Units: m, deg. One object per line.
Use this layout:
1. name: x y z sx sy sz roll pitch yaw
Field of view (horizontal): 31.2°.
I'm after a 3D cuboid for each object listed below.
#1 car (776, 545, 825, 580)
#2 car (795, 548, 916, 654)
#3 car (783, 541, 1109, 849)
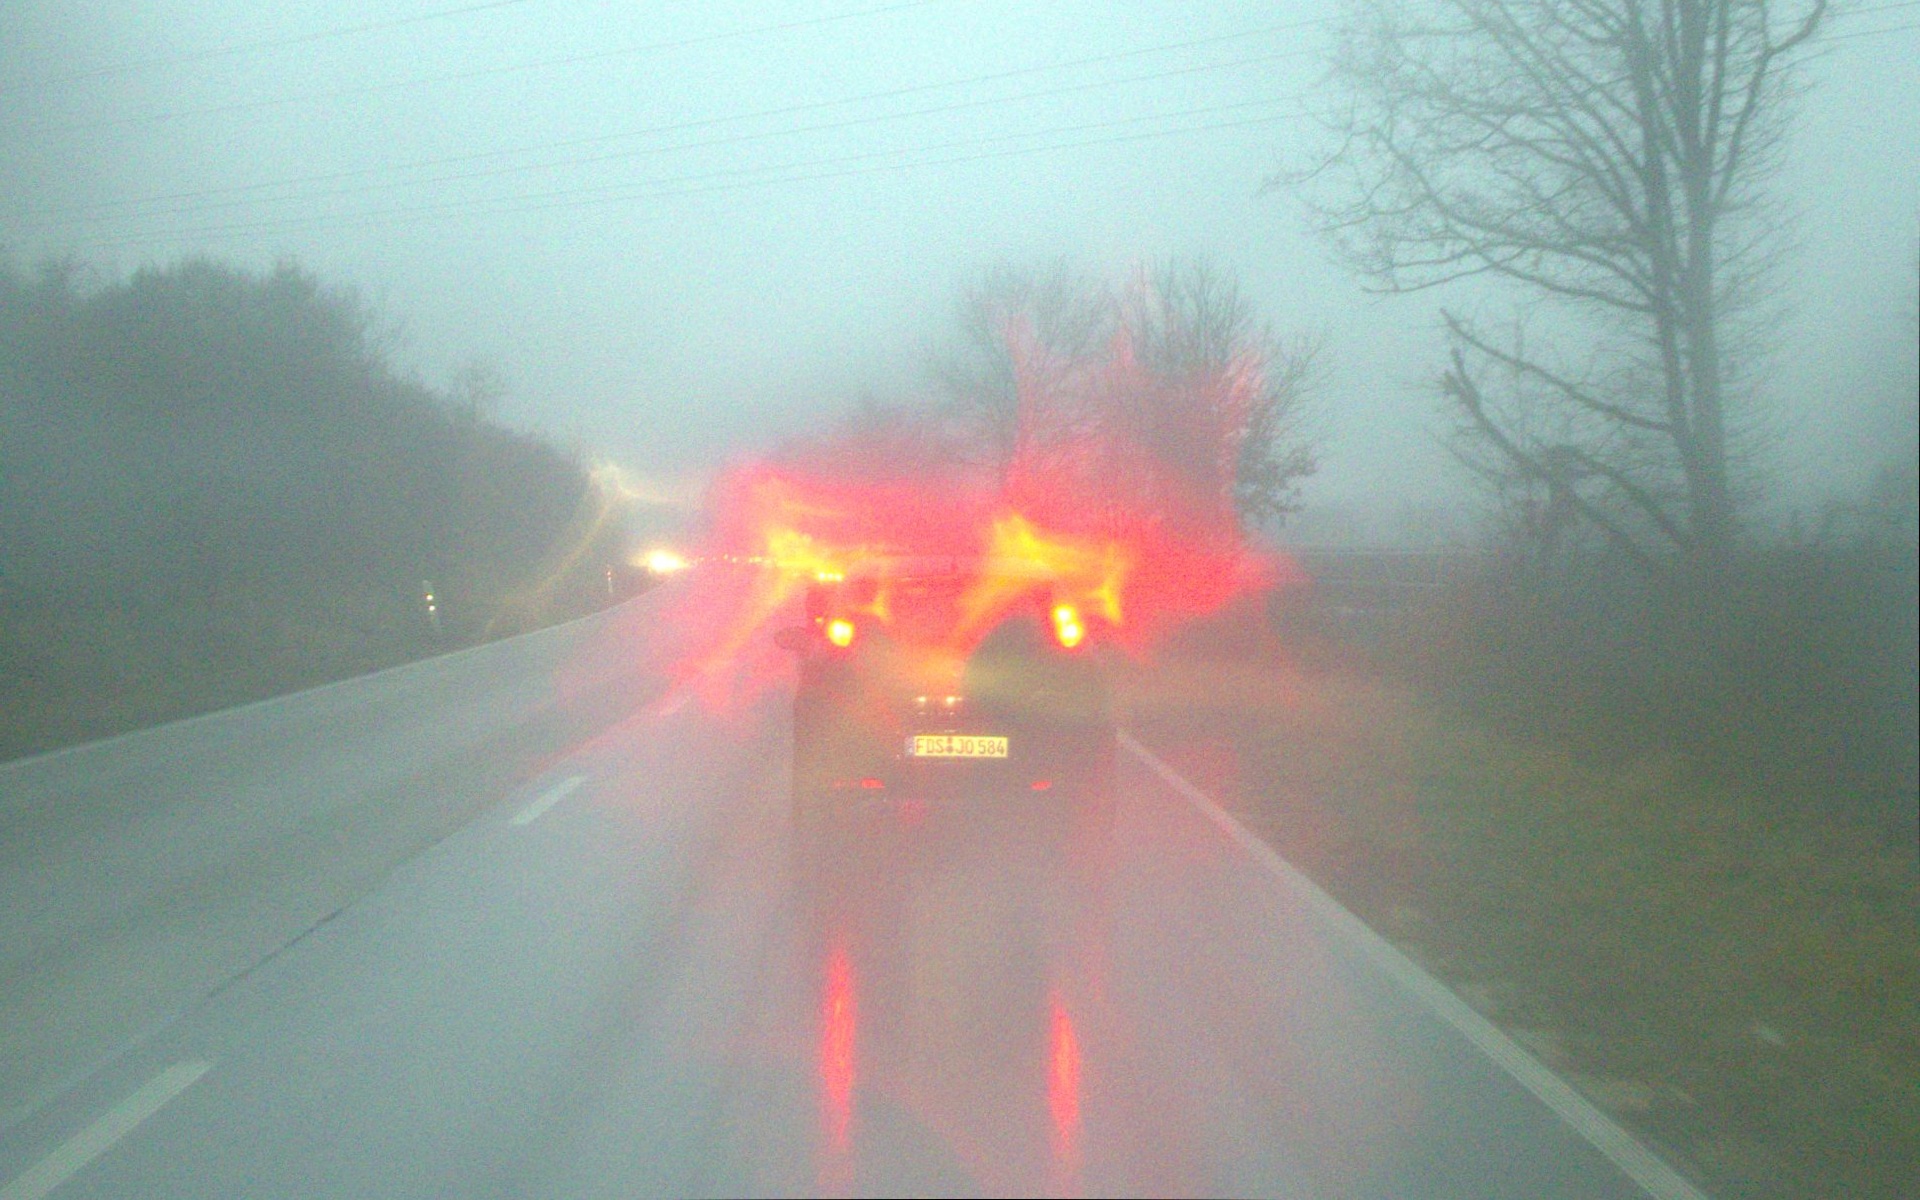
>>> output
1. car: -6.582 -1.552 142.124 1.547 1.392 3.869 1 1 4
2. car: -1.416 -0.013 47.636 1.547 1.392 3.869 1 1 0
3. car: -0.090 0.439 19.035 1.602 1.517 3.870 1 1 -1
